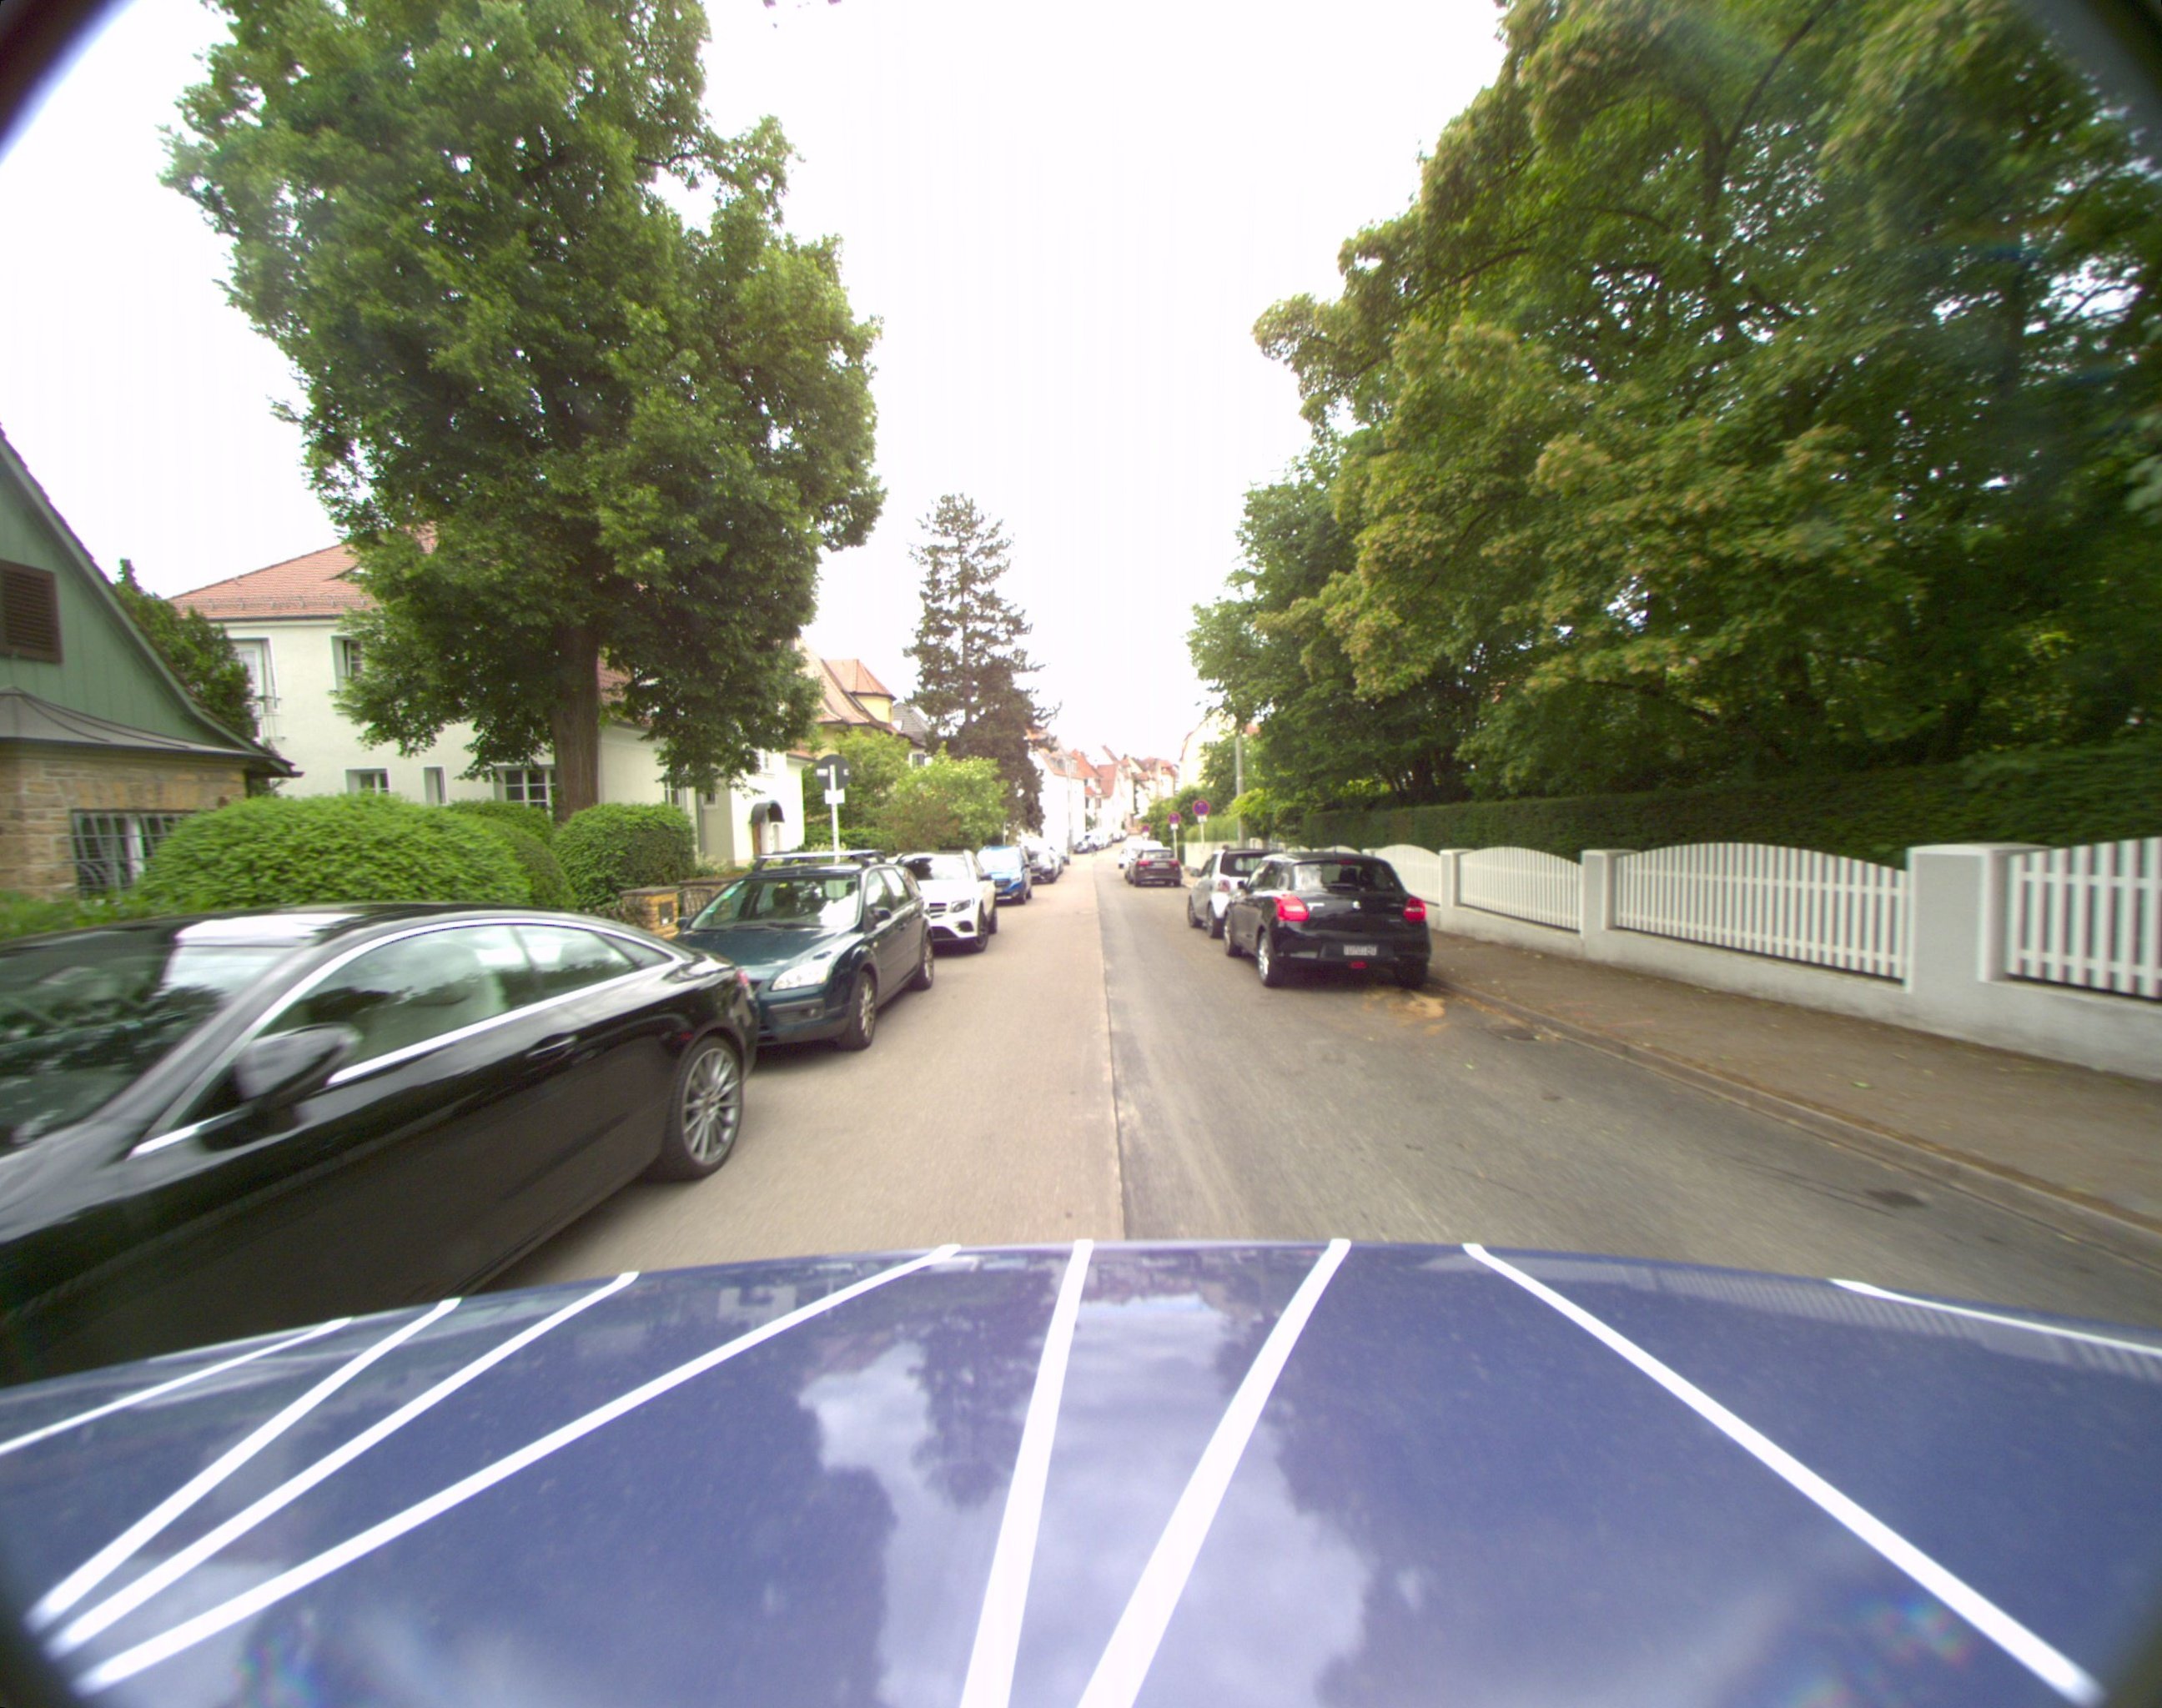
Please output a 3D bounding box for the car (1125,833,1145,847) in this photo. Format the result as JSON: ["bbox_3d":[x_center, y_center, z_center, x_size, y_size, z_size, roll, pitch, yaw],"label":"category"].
[{"bbox_3d":[6.609,-1.745,93.078,1.807,1.650,4.153,0,3,12],"label":"car"}]

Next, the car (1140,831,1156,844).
[{"bbox_3d":[9.398,-2.291,106.369,1.805,1.473,4.329,-1,5,12],"label":"car"}]

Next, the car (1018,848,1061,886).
[{"bbox_3d":[-2.034,0.599,38.241,1.754,1.599,4.074,-4,1,1],"label":"car"}]

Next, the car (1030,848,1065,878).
[{"bbox_3d":[-1.940,0.494,45.108,1.789,1.594,4.303,-4,1,0],"label":"car"}]

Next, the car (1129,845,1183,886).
[{"bbox_3d":[3.092,0.417,32.112,1.795,1.614,4.342,-1,1,-1],"label":"car"}]

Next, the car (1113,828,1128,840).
[{"bbox_3d":[5.930,-3.000,114.714,1.607,1.482,4.023,-2,5,12],"label":"car"}]

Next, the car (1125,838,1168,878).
[{"bbox_3d":[3.235,0.137,38.372,1.859,1.902,4.618,1,1,1],"label":"car"}]

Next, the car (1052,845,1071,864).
[{"bbox_3d":[-1.735,0.020,68.372,1.576,1.523,2.866,-4,1,-1],"label":"car"}]

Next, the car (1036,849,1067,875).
[{"bbox_3d":[-1.898,0.474,49.968,1.651,1.450,4.051,-3,2,1],"label":"car"}]

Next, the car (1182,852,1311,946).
[{"bbox_3d":[2.916,0.732,13.985,1.626,1.524,2.961,0,1,-2],"label":"car"}]

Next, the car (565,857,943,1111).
[{"bbox_3d":[-2.550,0.872,7.187,1.702,1.561,4.307,-1,1,-1],"label":"car"}]

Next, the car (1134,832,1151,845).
[{"bbox_3d":[7.950,-2.003,98.069,1.609,1.446,3.614,2,4,12],"label":"car"}]

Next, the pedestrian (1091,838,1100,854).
[{"bbox_3d":[1.592,-0.874,83.576,0.822,1.750,0.644,-4,3,1],"label":"pedestrian"}]

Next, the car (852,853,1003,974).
[{"bbox_3d":[-2.417,0.840,13.111,1.762,1.597,4.573,-3,1,-2],"label":"car"}]

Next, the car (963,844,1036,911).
[{"bbox_3d":[-2.449,0.648,23.829,1.687,1.819,4.156,-4,0,0],"label":"car"}]

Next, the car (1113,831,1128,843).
[{"bbox_3d":[5.971,-2.580,114.791,1.779,1.711,4.001,-2,3,11],"label":"car"}]

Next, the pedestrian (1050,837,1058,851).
[{"bbox_3d":[-2.955,-1.089,82.509,0.682,1.568,0.906,1,4,7],"label":"pedestrian"}]

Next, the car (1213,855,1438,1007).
[{"bbox_3d":[2.800,0.781,9.608,1.659,1.472,3.888,1,1,2],"label":"car"}]

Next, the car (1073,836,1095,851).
[{"bbox_3d":[0.412,-1.267,91.393,1.821,1.478,4.287,-1,3,11],"label":"car"}]

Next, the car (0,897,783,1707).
[{"bbox_3d":[-2.680,1.031,2.163,1.656,1.415,4.660,-3,1,1],"label":"car"}]

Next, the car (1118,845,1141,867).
[{"bbox_3d":[3.687,0.132,57.492,1.445,1.543,2.771,2,1,8],"label":"car"}]

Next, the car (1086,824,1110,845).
[{"bbox_3d":[2.234,-2.552,98.635,1.996,2.410,5.294,-1,5,13],"label":"car"}]

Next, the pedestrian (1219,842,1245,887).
[{"bbox_3d":[5.490,0.366,27.695,0.610,1.538,0.797,-7,1,0],"label":"pedestrian"}]

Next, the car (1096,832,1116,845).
[{"bbox_3d":[3.442,-2.131,104.090,1.827,1.437,4.384,-2,4,13],"label":"car"}]
